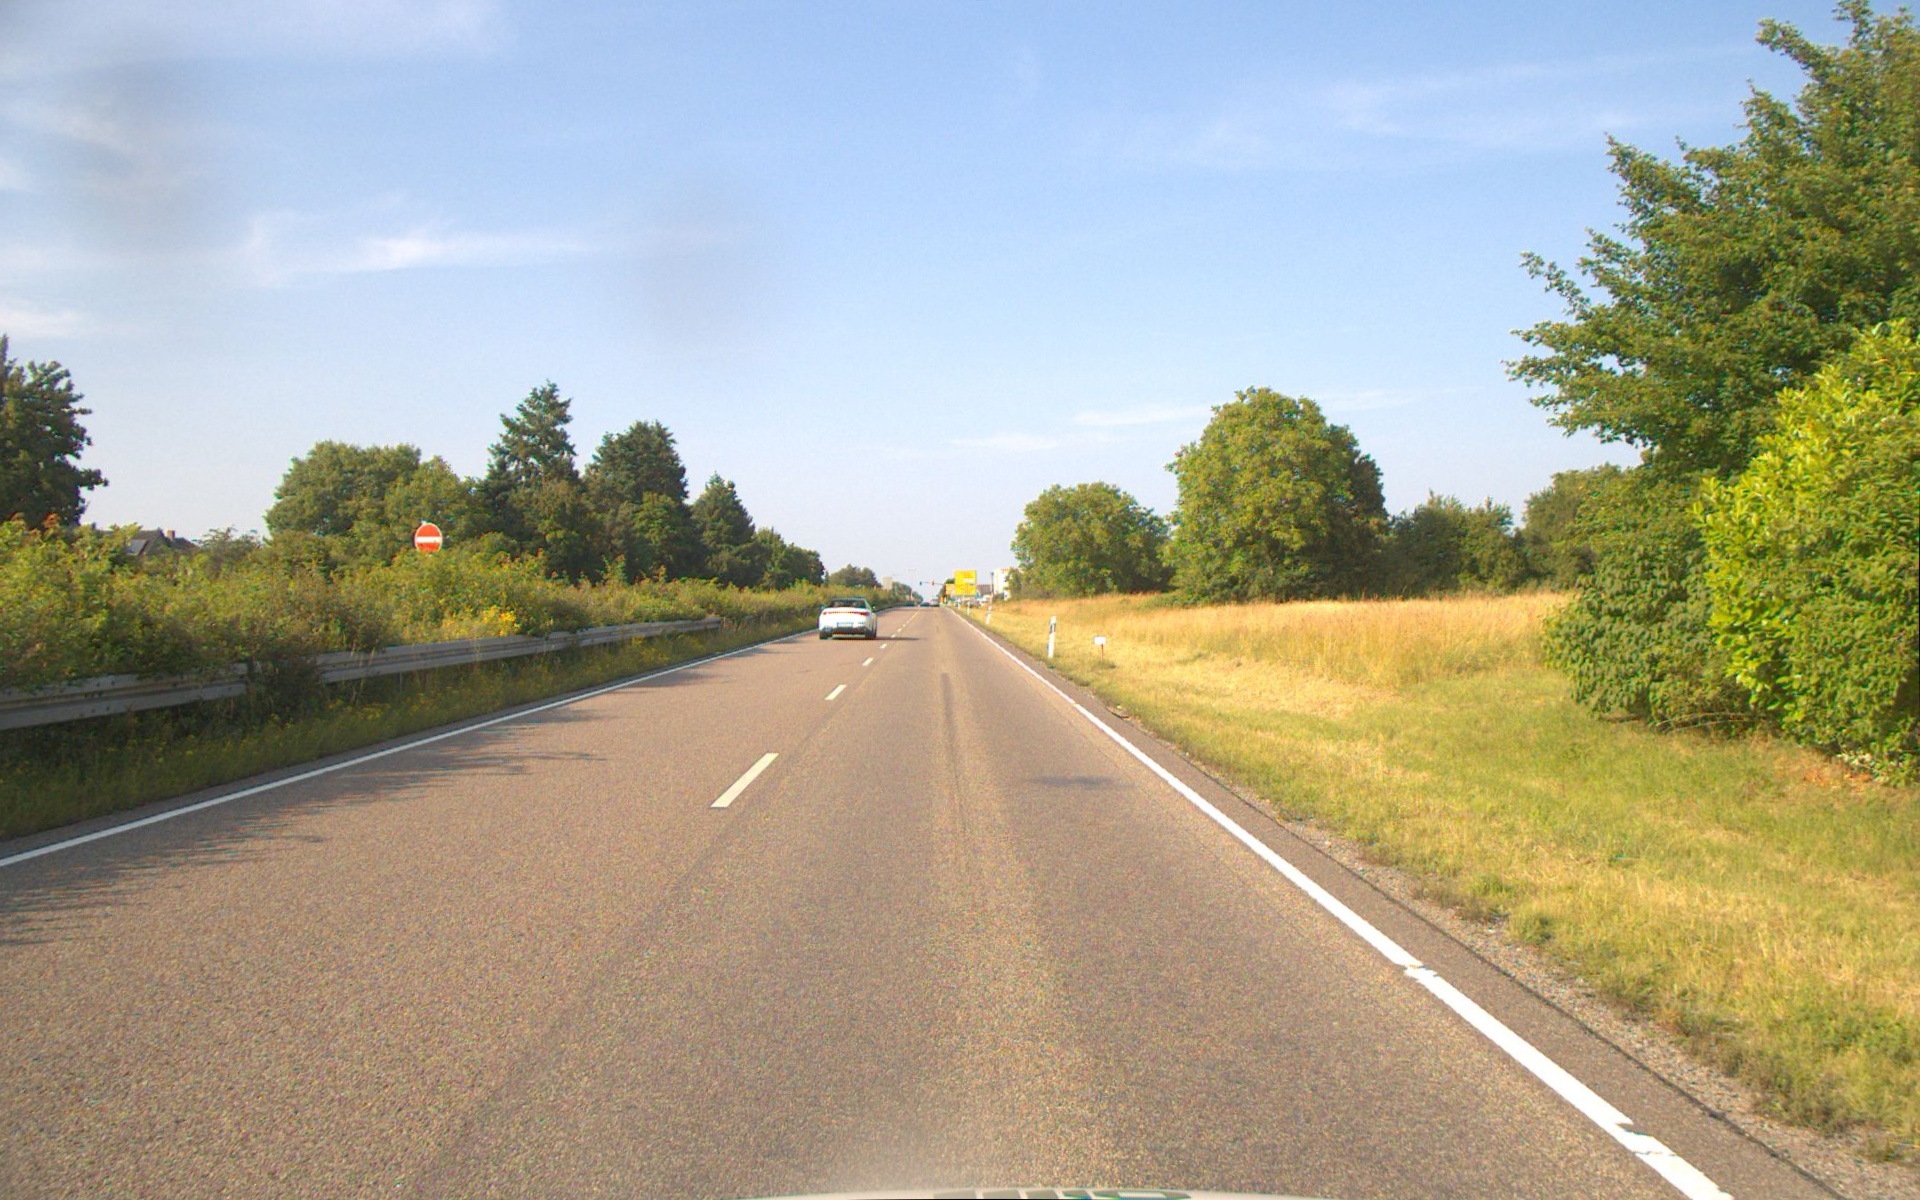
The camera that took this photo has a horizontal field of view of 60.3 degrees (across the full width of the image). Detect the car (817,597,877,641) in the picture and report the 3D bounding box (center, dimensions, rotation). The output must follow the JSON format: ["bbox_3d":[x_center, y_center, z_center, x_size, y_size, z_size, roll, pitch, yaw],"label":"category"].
[{"bbox_3d":[-3.831,0.635,56.720,1.871,1.447,3.999,1,0,-2],"label":"car"}]
